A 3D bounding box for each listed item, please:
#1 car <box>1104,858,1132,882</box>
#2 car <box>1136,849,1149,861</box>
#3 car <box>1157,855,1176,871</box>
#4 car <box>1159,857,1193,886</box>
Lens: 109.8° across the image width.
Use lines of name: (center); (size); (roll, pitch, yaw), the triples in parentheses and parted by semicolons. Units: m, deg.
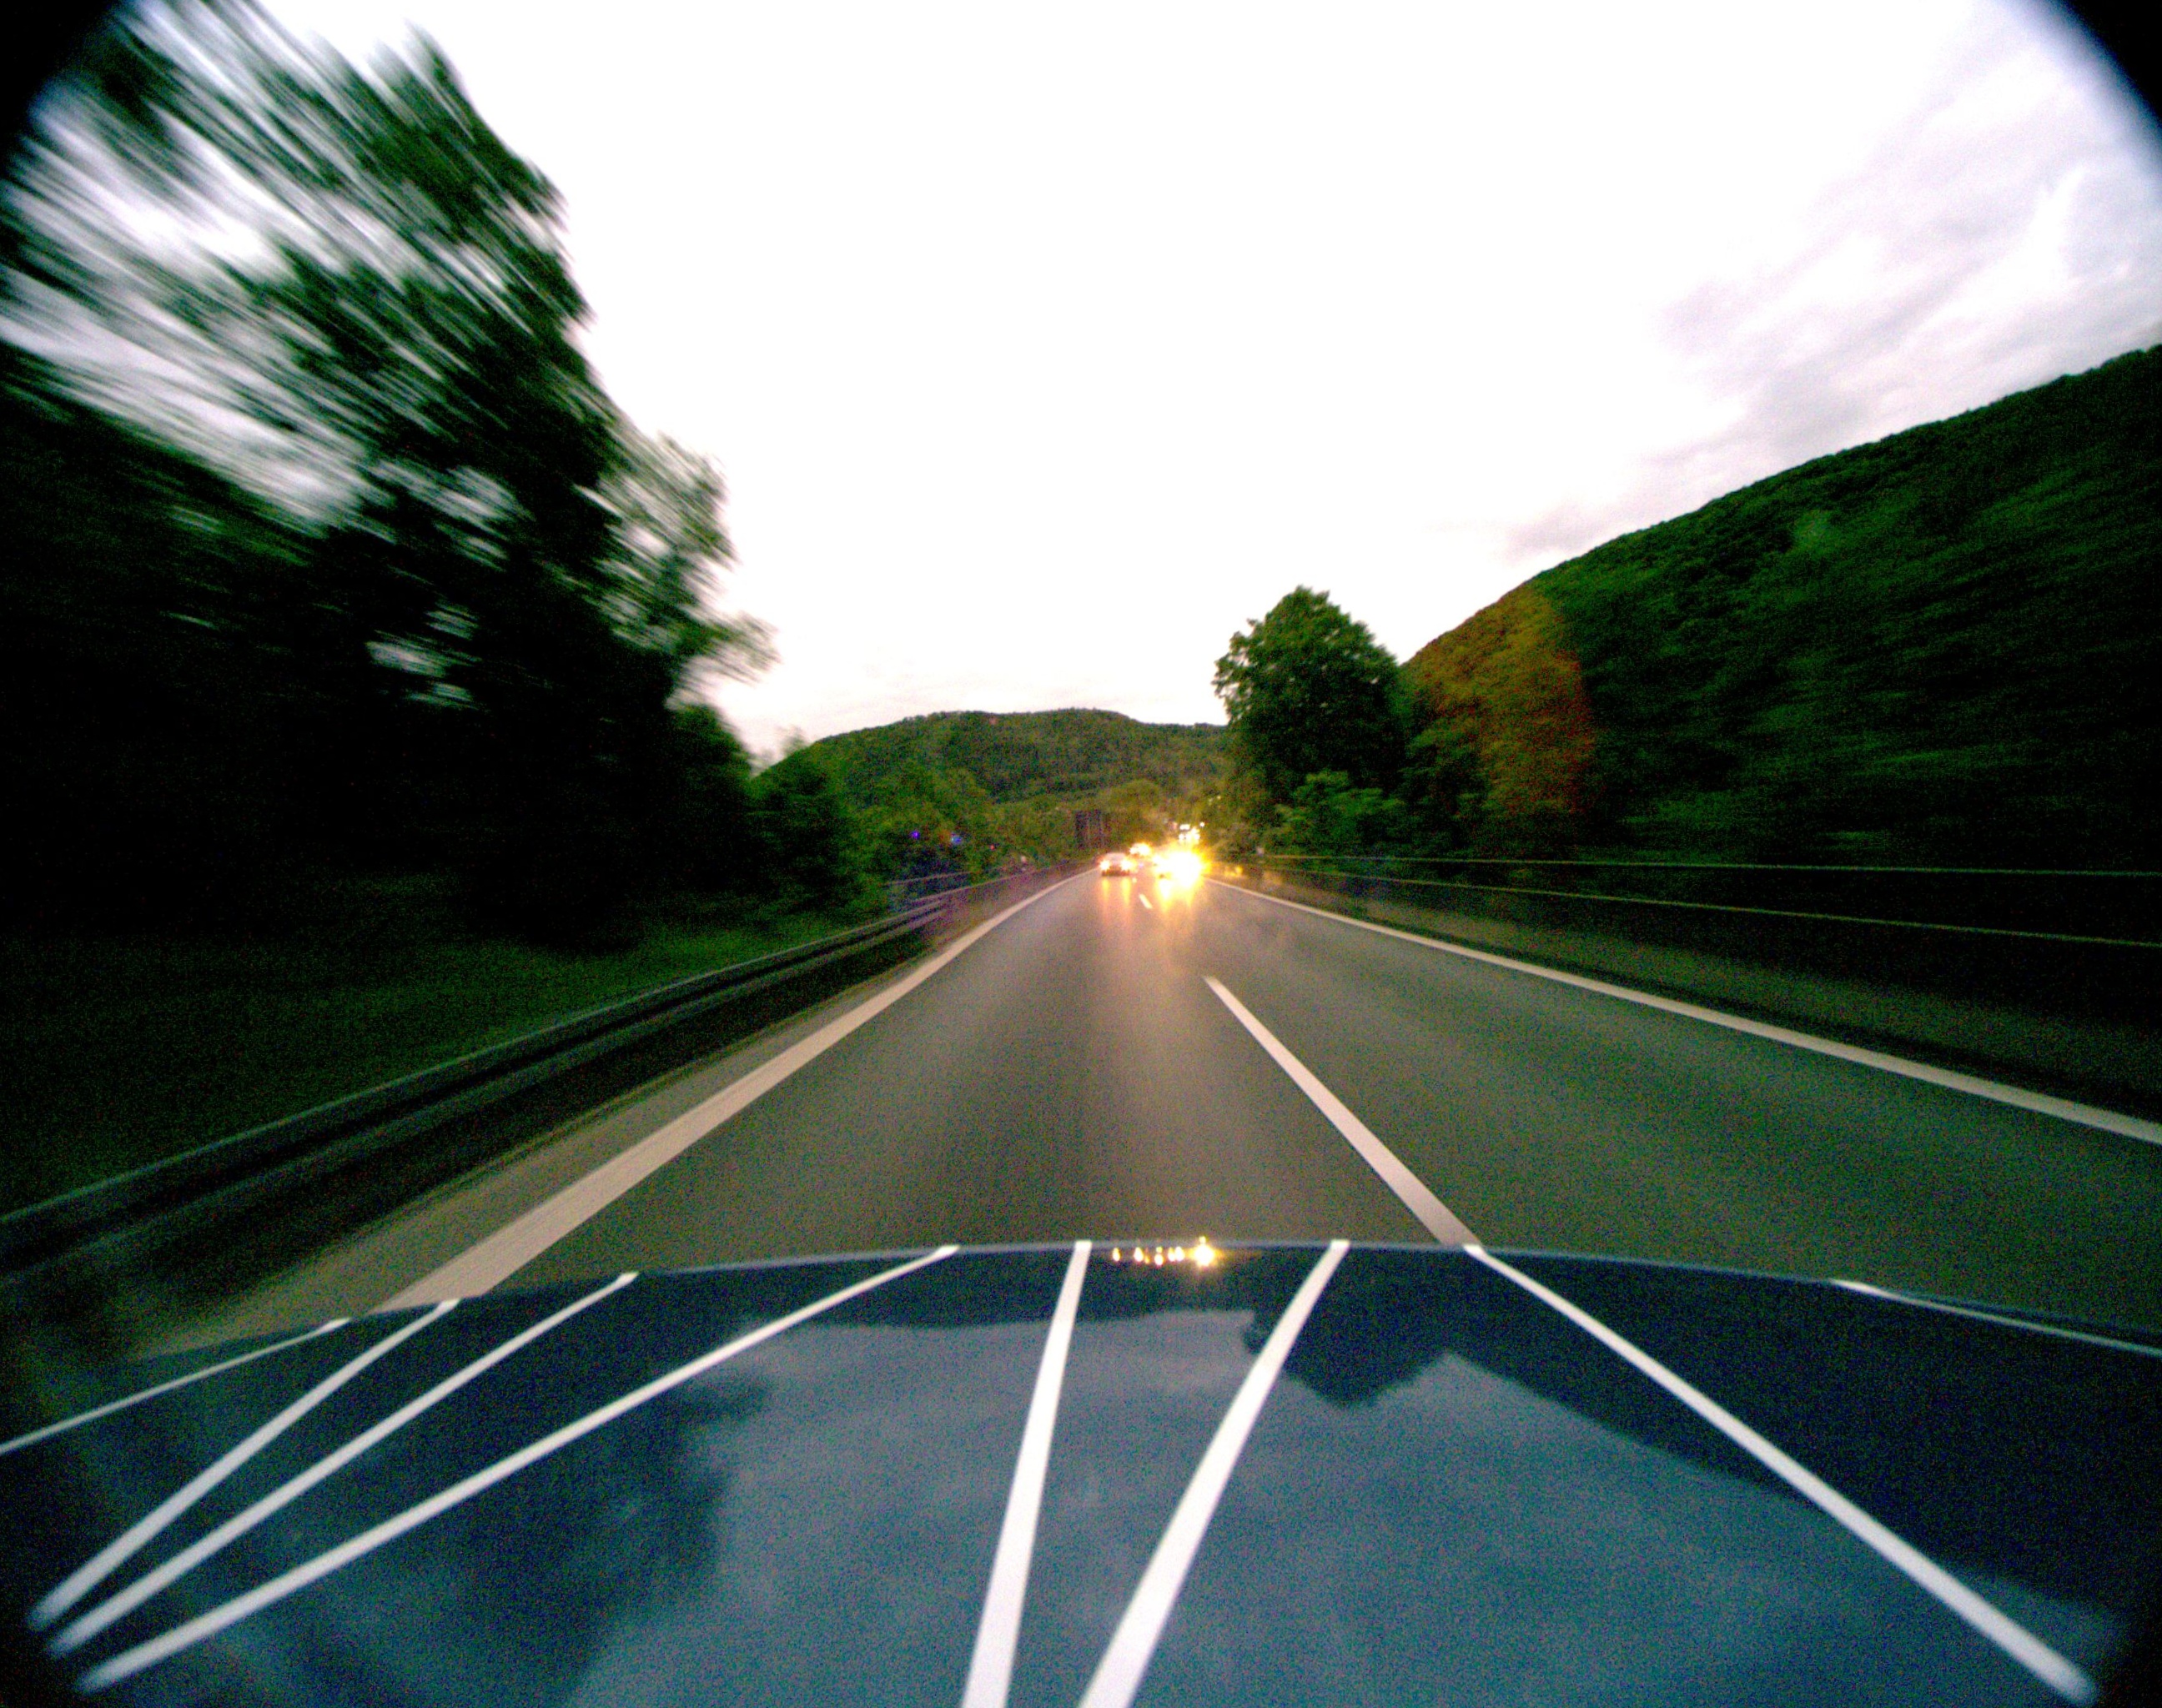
car: (2.406, 1.022, 50.284); (1.690, 1.443, 3.668); (-2, 1, 1)
car: (8.752, 0.159, 108.413); (1.737, 1.641, 3.669); (-2, 1, 4)
car: (8.277, 0.824, 73.582); (1.689, 1.425, 3.669); (-2, 1, 5)
car: (5.457, 0.985, 43.959); (1.689, 1.460, 3.768); (-2, 1, 4)
